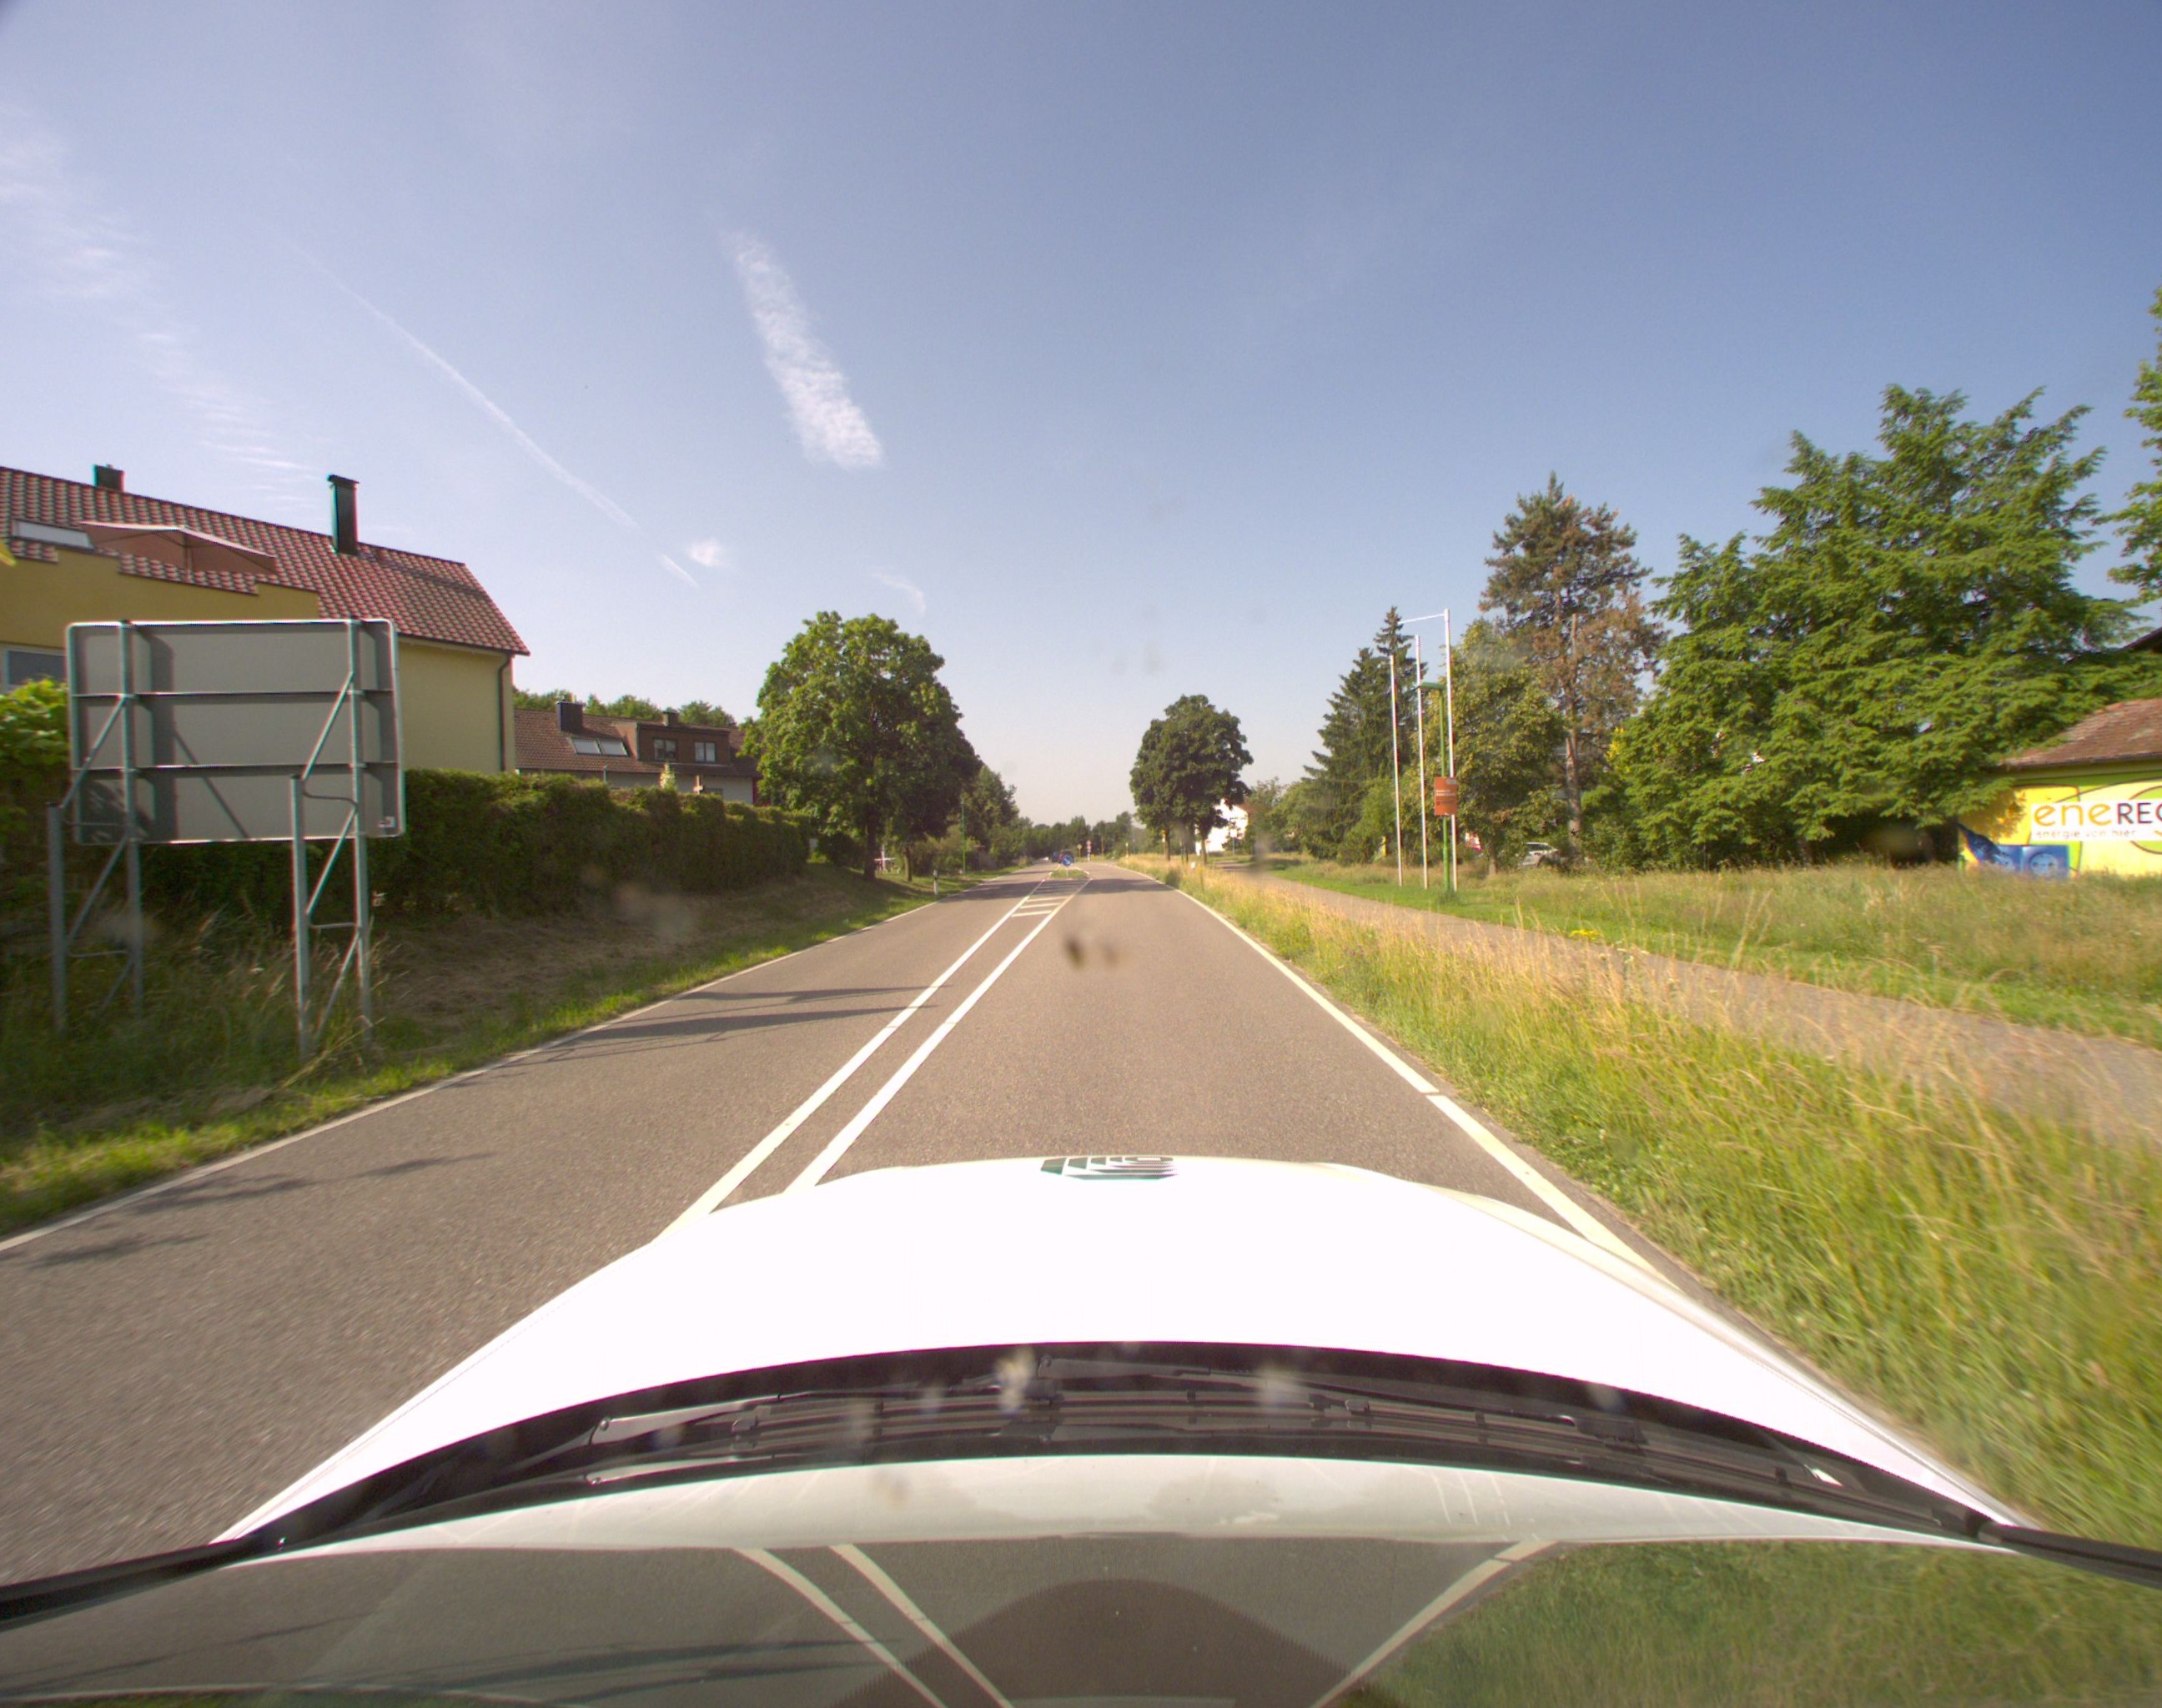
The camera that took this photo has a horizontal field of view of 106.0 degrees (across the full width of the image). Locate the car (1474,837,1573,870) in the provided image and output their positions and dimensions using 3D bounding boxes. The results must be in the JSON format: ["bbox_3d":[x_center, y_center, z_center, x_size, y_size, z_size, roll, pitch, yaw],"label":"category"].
[{"bbox_3d":[21.739,-0.024,40.087,3.982,1.434,1.811,-2,0,-6],"label":"car"}]

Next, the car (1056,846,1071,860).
[{"bbox_3d":[-2.304,-0.158,106.000,1.921,1.771,3.996,-1,1,-3],"label":"car"}]

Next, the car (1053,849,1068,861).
[{"bbox_3d":[-3.178,0.142,125.803,2.000,1.771,3.994,-1,1,-4],"label":"car"}]
